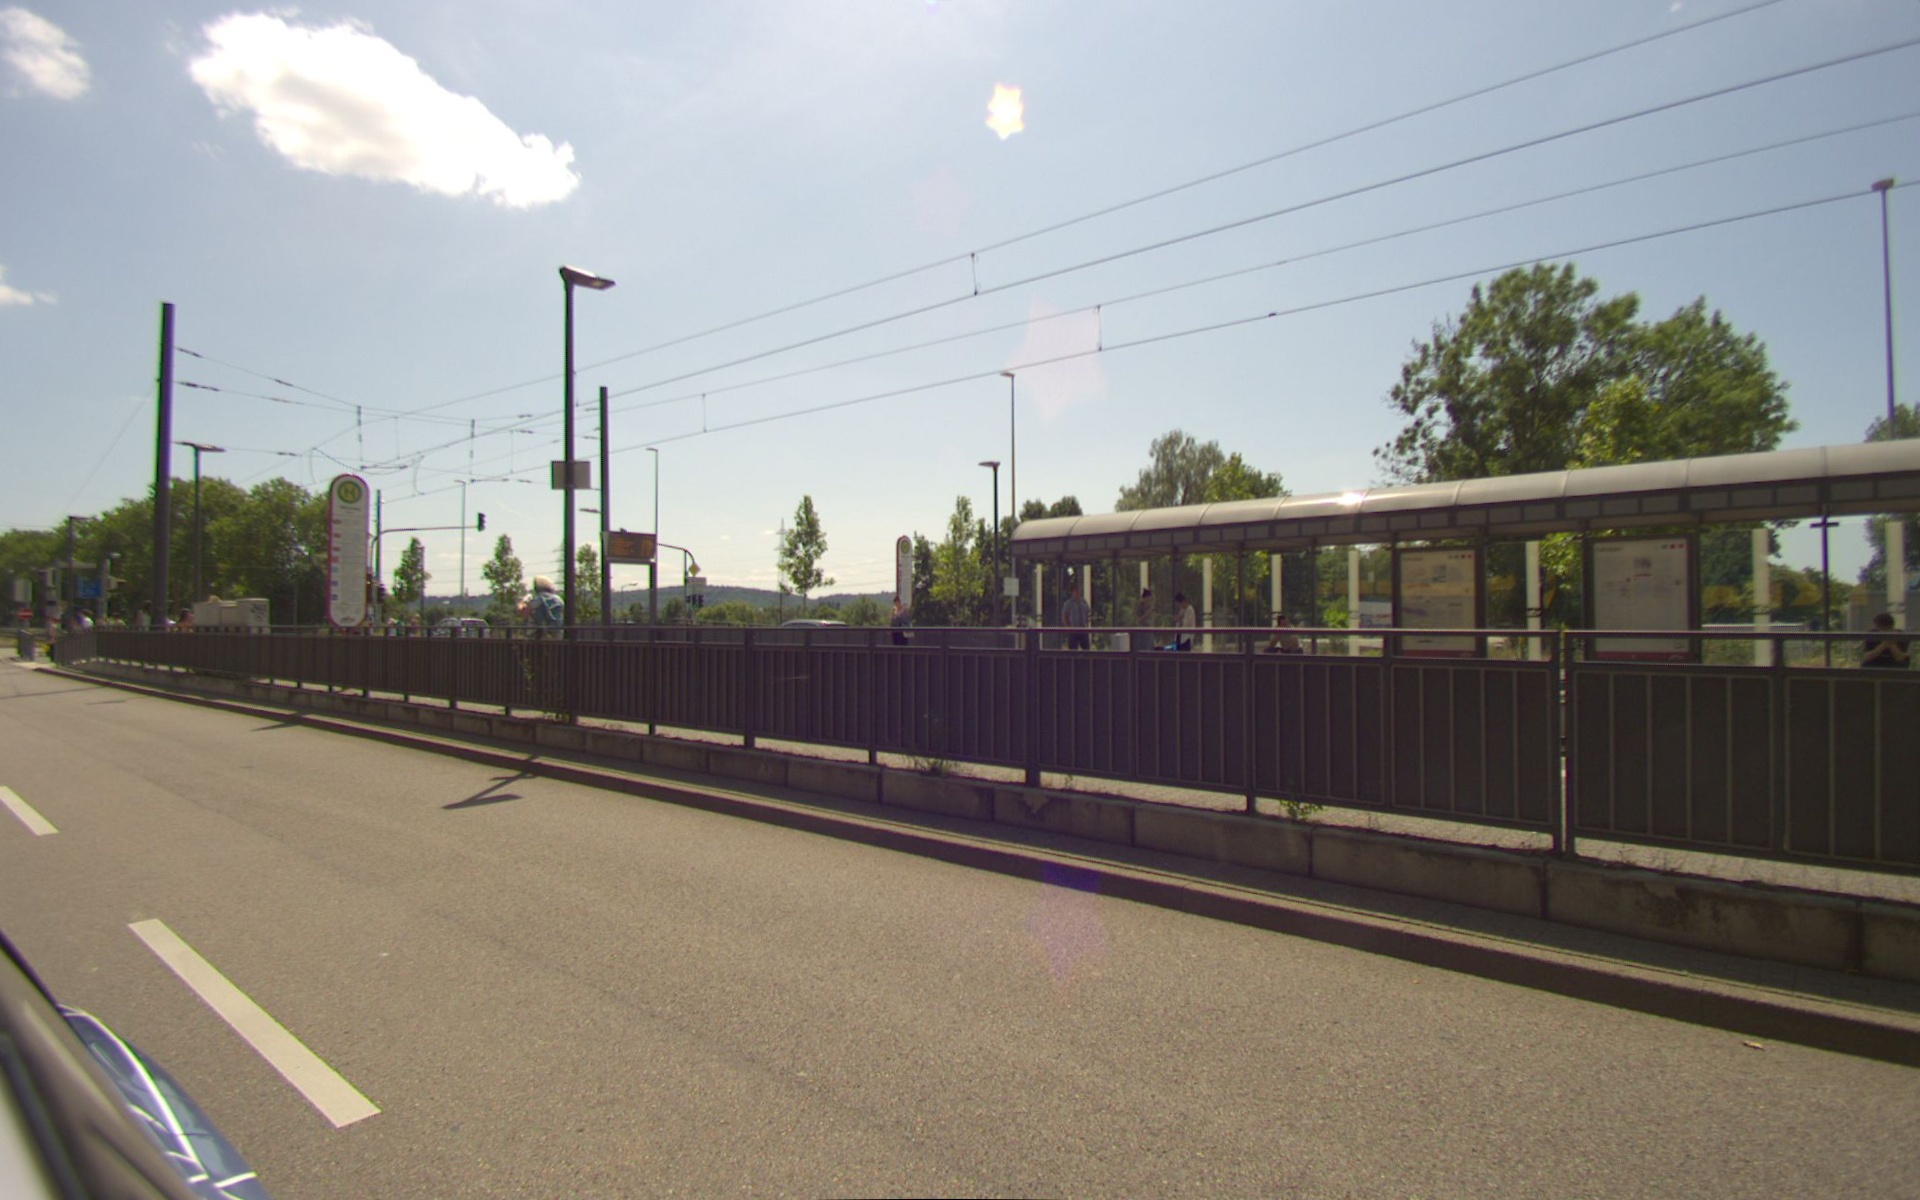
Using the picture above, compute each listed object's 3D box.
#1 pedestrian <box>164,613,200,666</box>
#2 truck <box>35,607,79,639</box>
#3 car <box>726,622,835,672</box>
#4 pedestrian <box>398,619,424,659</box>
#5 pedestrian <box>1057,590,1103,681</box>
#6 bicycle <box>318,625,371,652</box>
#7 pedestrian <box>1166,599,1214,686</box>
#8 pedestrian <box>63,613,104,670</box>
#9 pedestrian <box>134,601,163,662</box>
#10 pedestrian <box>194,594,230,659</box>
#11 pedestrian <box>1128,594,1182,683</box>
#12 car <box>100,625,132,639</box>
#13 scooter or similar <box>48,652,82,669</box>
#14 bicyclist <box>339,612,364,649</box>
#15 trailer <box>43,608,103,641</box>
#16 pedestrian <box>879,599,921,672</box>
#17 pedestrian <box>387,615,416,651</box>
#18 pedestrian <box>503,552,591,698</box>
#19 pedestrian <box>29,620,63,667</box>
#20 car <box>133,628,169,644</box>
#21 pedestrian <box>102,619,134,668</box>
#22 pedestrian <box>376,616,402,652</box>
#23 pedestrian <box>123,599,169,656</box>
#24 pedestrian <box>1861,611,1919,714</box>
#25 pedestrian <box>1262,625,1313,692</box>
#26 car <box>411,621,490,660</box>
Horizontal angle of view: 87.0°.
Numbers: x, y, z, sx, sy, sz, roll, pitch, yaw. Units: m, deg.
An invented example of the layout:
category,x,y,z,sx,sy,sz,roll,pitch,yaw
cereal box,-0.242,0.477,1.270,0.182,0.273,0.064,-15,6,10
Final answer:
category,x,y,z,sx,sy,sz,roll,pitch,yaw
pedestrian,-20.447,1.020,26.608,0.719,1.355,0.607,-1,-1,40
truck,-117.311,2.985,131.436,7.466,4.069,3.095,-1,-1,39
car,-6.803,1.735,38.191,3.999,1.641,1.972,0,1,42
pedestrian,-23.919,1.689,44.110,0.763,1.685,0.754,-2,-2,39
pedestrian,2.336,0.686,19.708,0.726,1.742,0.579,0,-2,-11
bicycle,-27.581,1.709,45.365,0.760,1.109,1.961,-1,0,26
pedestrian,4.196,0.768,18.470,0.639,1.545,0.570,-2,-2,42
pedestrian,-28.325,1.323,32.715,0.882,1.816,0.854,-1,-1,38
pedestrian,-21.545,0.835,26.863,0.556,1.590,0.492,-1,-2,40
pedestrian,-20.073,0.703,27.151,0.719,1.694,0.607,-1,-1,40
pedestrian,3.667,0.719,19.038,0.814,1.651,0.579,0,-2,-11
car,-91.363,3.511,109.534,4.275,1.474,1.973,-2,-2,40
scooter or similar,-28.472,1.910,32.196,0.457,0.509,0.719,-2,-2,38
bicyclist,-27.464,1.373,45.680,0.729,1.627,0.660,-1,-1,26
trailer,-110.558,3.009,126.016,15.466,3.900,3.084,-1,-2,39
pedestrian,-1.384,0.819,23.484,0.804,1.650,0.552,-1,-1,34
pedestrian,-25.403,1.494,46.010,0.763,1.622,0.947,-2,-2,39
pedestrian,-4.946,0.294,12.126,0.742,1.678,0.725,-2,-2,41
pedestrian,-31.628,1.484,35.027,0.763,1.584,0.777,-1,-1,38
car,-77.148,3.408,96.475,4.347,1.456,1.973,-2,-2,41
pedestrian,-29.421,1.501,35.367,0.677,1.685,0.725,-1,-1,38
pedestrian,-25.248,1.502,44.744,0.763,1.560,0.754,-2,-2,39
pedestrian,-23.519,0.781,29.239,0.923,1.617,0.881,-2,-2,40
pedestrian,11.292,0.741,12.176,0.639,1.199,0.570,-2,-2,42
pedestrian,5.552,0.976,17.158,0.639,1.103,0.570,-2,-2,42
car,-23.507,1.811,46.641,4.000,1.641,1.972,-1,0,43
